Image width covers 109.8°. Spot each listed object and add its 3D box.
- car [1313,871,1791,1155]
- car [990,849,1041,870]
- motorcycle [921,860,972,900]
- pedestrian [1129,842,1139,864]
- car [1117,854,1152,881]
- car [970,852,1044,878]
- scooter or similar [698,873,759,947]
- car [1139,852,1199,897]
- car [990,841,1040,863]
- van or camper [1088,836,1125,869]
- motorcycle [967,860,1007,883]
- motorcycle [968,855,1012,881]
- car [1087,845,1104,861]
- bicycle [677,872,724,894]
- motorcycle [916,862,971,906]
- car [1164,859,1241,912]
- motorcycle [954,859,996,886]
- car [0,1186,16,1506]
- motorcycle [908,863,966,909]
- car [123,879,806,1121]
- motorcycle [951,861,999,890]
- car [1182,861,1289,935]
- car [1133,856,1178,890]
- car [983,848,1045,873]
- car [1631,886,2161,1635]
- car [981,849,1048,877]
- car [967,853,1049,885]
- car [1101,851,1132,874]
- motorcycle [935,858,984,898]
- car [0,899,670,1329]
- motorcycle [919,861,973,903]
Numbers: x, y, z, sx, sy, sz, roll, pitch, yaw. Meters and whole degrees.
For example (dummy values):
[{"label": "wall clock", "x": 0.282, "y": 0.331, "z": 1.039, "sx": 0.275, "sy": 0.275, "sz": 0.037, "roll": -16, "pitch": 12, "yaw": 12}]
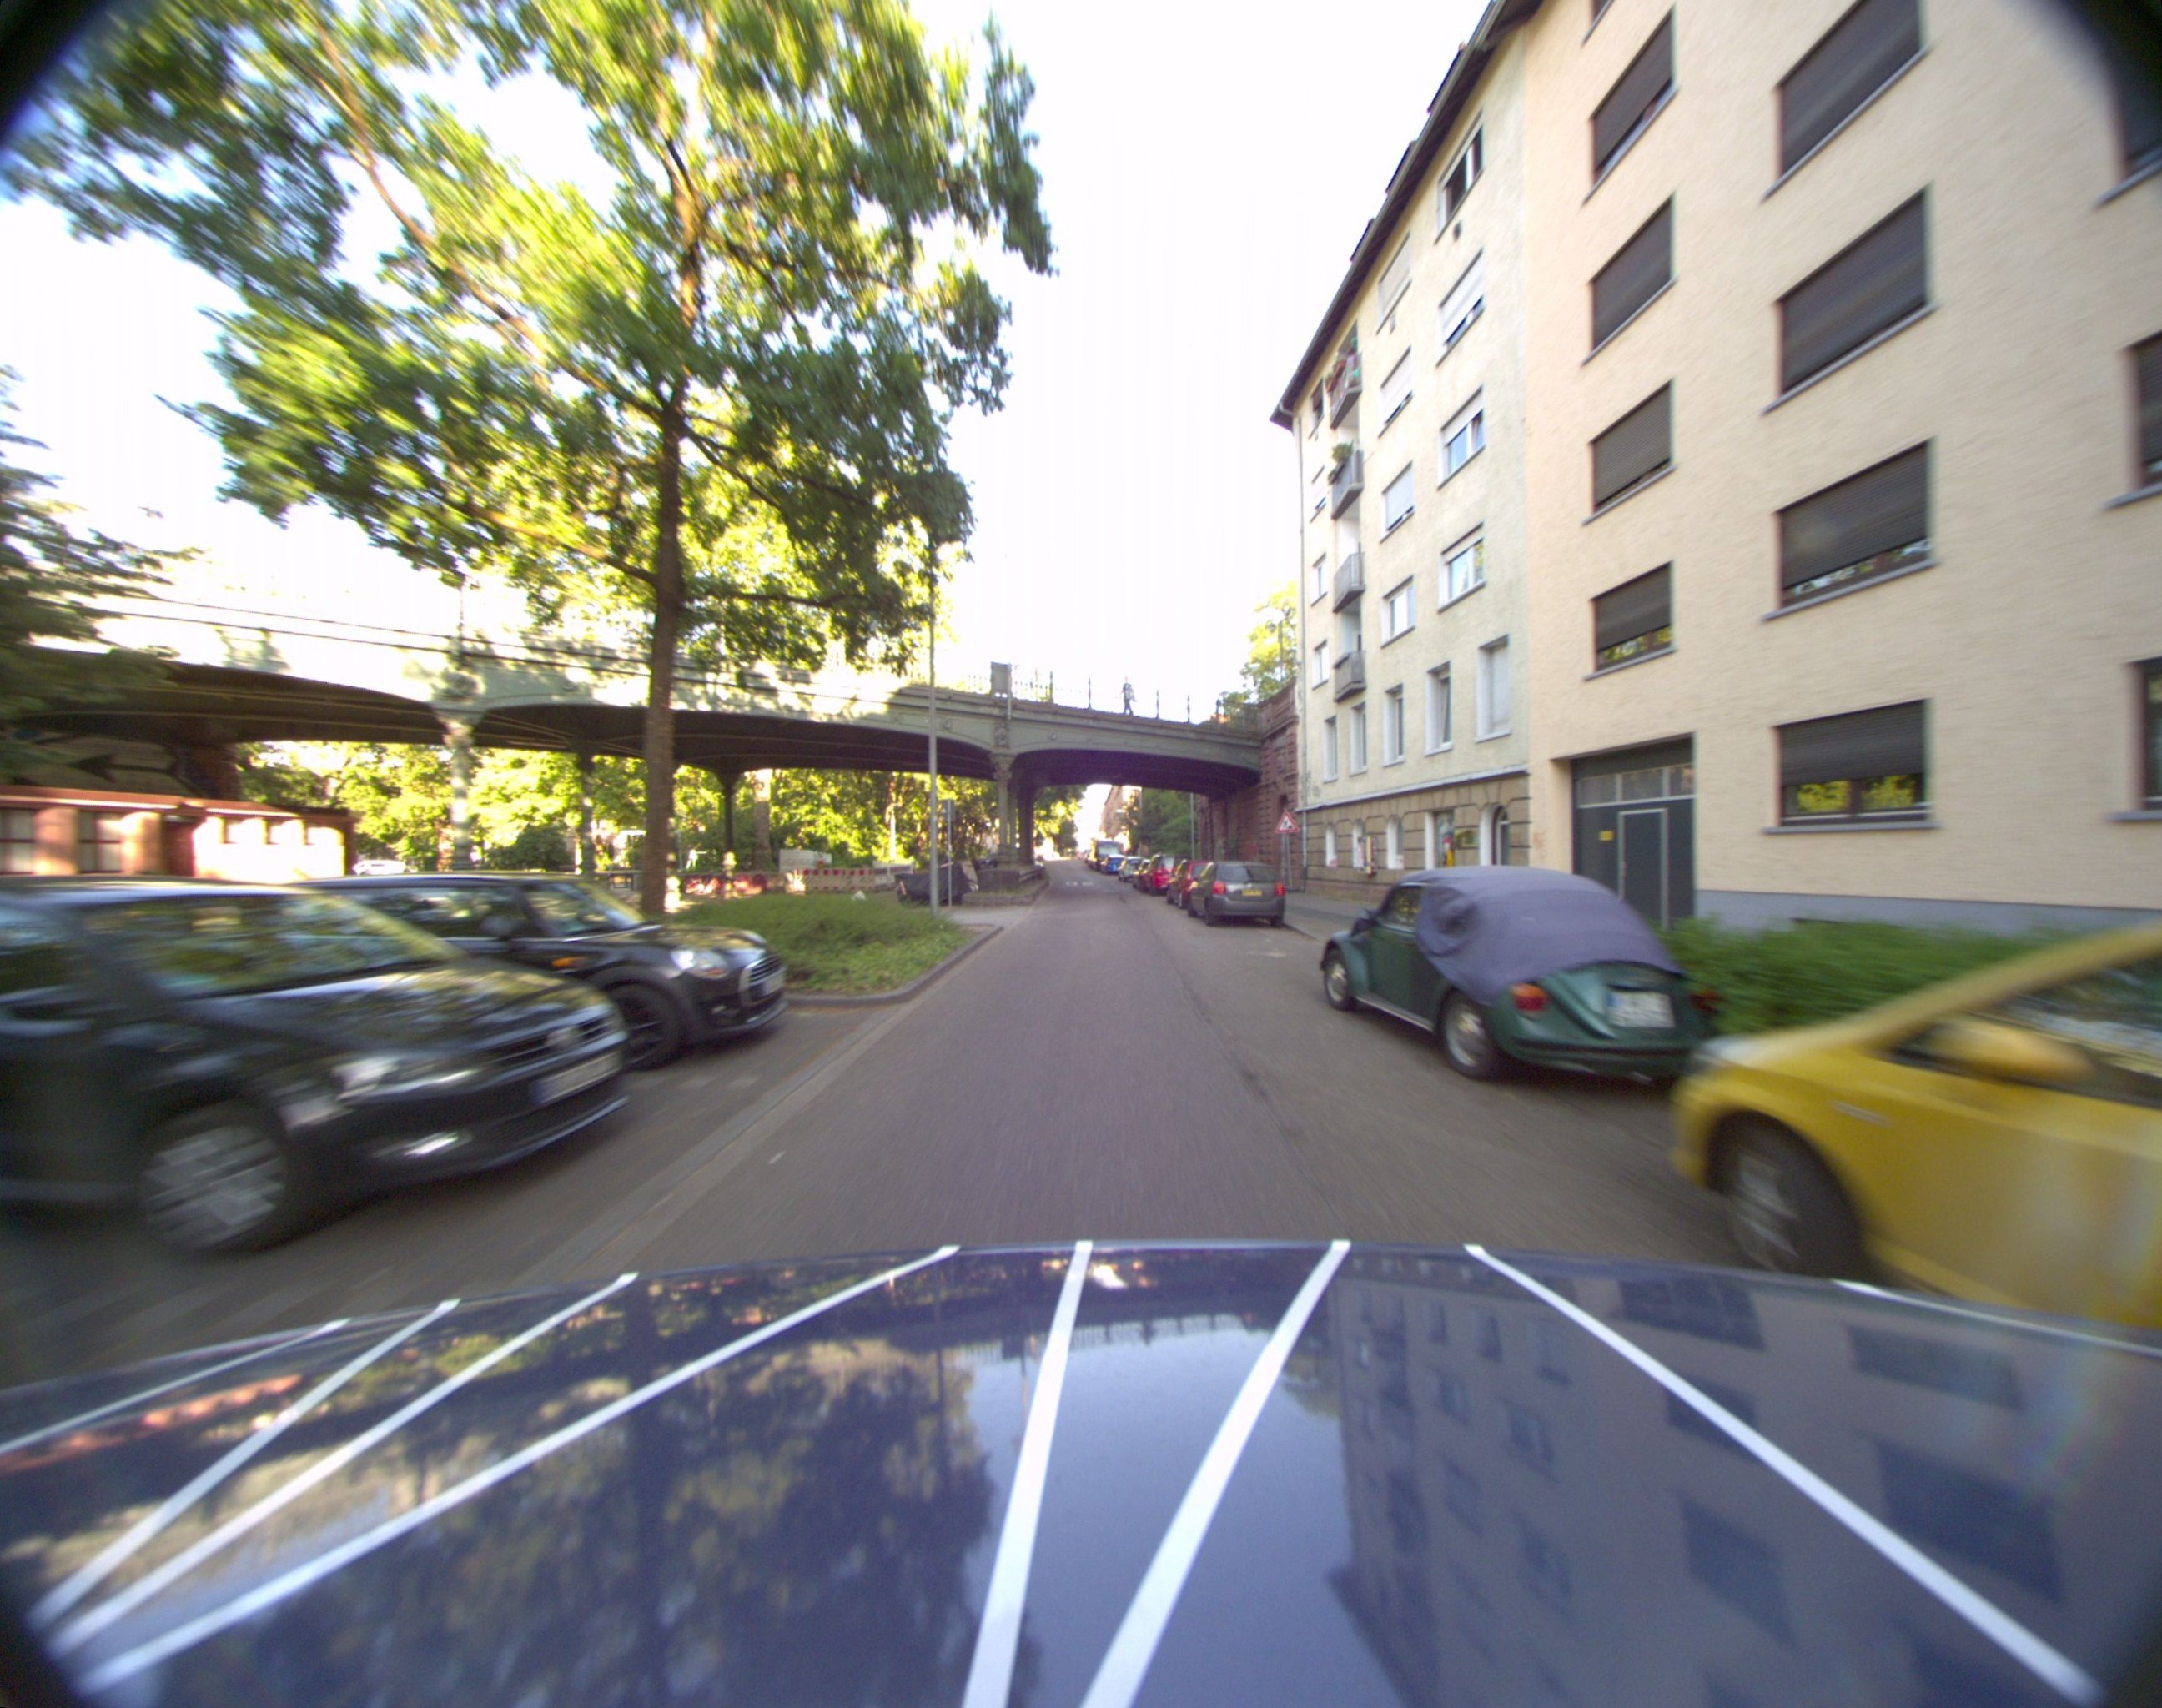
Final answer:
[{"label": "car", "x": 3.242, "y": 0.944, "z": 6.194, "sx": 1.570, "sy": 1.508, "sz": 3.782, "roll": 0, "pitch": 0, "yaw": 0}, {"label": "car", "x": -5.288, "y": 0.435, "z": 61.678, "sx": 4.032, "sy": 1.565, "sz": 1.586, "roll": -2, "pitch": 2, "yaw": -3}, {"label": "motorcycle", "x": -4.819, "y": 0.927, "z": 27.210, "sx": 1.602, "sy": 1.400, "sz": 0.713, "roll": -1, "pitch": 2, "yaw": 19}, {"label": "pedestrian", "x": 4.638, "y": -0.088, "z": 66.313, "sx": 0.639, "sy": 1.904, "sz": 1.046, "roll": -2, "pitch": 2, "yaw": -8}, {"label": "car", "x": 3.278, "y": 0.796, "z": 46.819, "sx": 1.599, "sy": 1.538, "sz": 3.913, "roll": 0, "pitch": 1, "yaw": -4}, {"label": "car", "x": -4.749, "y": 0.682, "z": 49.133, "sx": 4.597, "sy": 1.597, "sz": 1.734, "roll": 0, "pitch": 2, "yaw": 2}, {"label": "scooter or similar", "x": -6.836, "y": 1.054, "z": 14.791, "sx": 0.478, "sy": 1.291, "sz": 1.325, "roll": -2, "pitch": 2, "yaw": 2}, {"label": "car", "x": 3.514, "y": 0.767, "z": 30.983, "sx": 1.721, "sy": 1.698, "sz": 4.321, "roll": 0, "pitch": 1, "yaw": -3}, {"label": "car", "x": -6.408, "y": -0.195, "z": 74.117, "sx": 4.684, "sy": 1.914, "sz": 1.871, "roll": 1, "pitch": 2, "yaw": -3}, {"label": "van or camper", "x": 2.050, "y": -0.202, "z": 62.637, "sx": 2.242, "sy": 2.509, "sz": 6.416, "roll": -2, "pitch": 2, "yaw": -5}, {"label": "motorcycle", "x": -4.500, "y": 0.825, "z": 36.471, "sx": 1.729, "sy": 1.024, "sz": 0.810, "roll": -3, "pitch": 3, "yaw": -35}, {"label": "motorcycle", "x": -4.565, "y": 0.690, "z": 38.157, "sx": 1.938, "sy": 1.231, "sz": 0.902, "roll": -3, "pitch": 2, "yaw": -26}, {"label": "car", "x": 1.435, "y": -0.160, "z": 76.855, "sx": 1.703, "sy": 1.489, "sz": 4.548, "roll": 1, "pitch": 2, "yaw": 0}, {"label": "bicycle", "x": -15.394, "y": 1.156, "z": 30.751, "sx": 1.618, "sy": 0.853, "sz": 0.522, "roll": 2, "pitch": 0, "yaw": -33}, {"label": "motorcycle", "x": -4.560, "y": 0.979, "z": 25.247, "sx": 1.602, "sy": 1.400, "sz": 0.713, "roll": -1, "pitch": 2, "yaw": 19}, {"label": "car", "x": 3.647, "y": 0.903, "z": 23.447, "sx": 1.693, "sy": 1.433, "sz": 3.999, "roll": 0, "pitch": 1, "yaw": -1}, {"label": "motorcycle", "x": -4.862, "y": 0.837, "z": 34.765, "sx": 1.729, "sy": 1.126, "sz": 0.710, "roll": -3, "pitch": 3, "yaw": -35}, {"label": "car", "x": -4.628, "y": 0.985, "z": 1.049, "sx": 3.792, "sy": 1.393, "sz": 1.663, "roll": 0, "pitch": 2, "yaw": -2}, {"label": "motorcycle", "x": -4.594, "y": 1.011, "z": 24.234, "sx": 1.602, "sy": 1.400, "sz": 0.713, "roll": -1, "pitch": 2, "yaw": 19}, {"label": "car", "x": -4.311, "y": 0.975, "z": 5.870, "sx": 3.793, "sy": 1.464, "sz": 1.634, "roll": 0, "pitch": 2, "yaw": -5}, {"label": "motorcycle", "x": -4.533, "y": 0.898, "z": 32.423, "sx": 1.839, "sy": 1.126, "sz": 0.849, "roll": -3, "pitch": 2, "yaw": -25}, {"label": "car", "x": 3.540, "y": 0.957, "z": 18.123, "sx": 1.641, "sy": 1.458, "sz": 3.999, "roll": 2, "pitch": 0, "yaw": -1}, {"label": "car", "x": 3.483, "y": 0.874, "z": 36.270, "sx": 1.721, "sy": 1.455, "sz": 3.999, "roll": 0, "pitch": 1, "yaw": -1}, {"label": "car", "x": -4.975, "y": 0.461, "z": 56.921, "sx": 4.545, "sy": 1.686, "sz": 1.906, "roll": -2, "pitch": 2, "yaw": -3}, {"label": "car", "x": 3.167, "y": 0.906, "z": 1.257, "sx": 1.707, "sy": 1.516, "sz": 3.772, "roll": 0, "pitch": 0, "yaw": -2}, {"label": "car", "x": -4.549, "y": 0.579, "z": 51.860, "sx": 4.387, "sy": 1.699, "sz": 1.905, "roll": -2, "pitch": 2, "yaw": -5}, {"label": "car", "x": -3.986, "y": 0.812, "z": 42.049, "sx": 4.386, "sy": 1.569, "sz": 1.673, "roll": -2, "pitch": 2, "yaw": -3}, {"label": "car", "x": 2.594, "y": 0.582, "z": 56.496, "sx": 1.750, "sy": 1.458, "sz": 4.372, "roll": -2, "pitch": 2, "yaw": -5}, {"label": "motorcycle", "x": -4.483, "y": 0.889, "z": 28.127, "sx": 1.602, "sy": 1.400, "sz": 0.713, "roll": -1, "pitch": 2, "yaw": 19}, {"label": "car", "x": -4.372, "y": 0.992, "z": 3.628, "sx": 3.792, "sy": 1.393, "sz": 1.826, "roll": 0, "pitch": 2, "yaw": 0}, {"label": "motorcycle", "x": -4.635, "y": 0.955, "z": 26.113, "sx": 1.602, "sy": 1.400, "sz": 0.713, "roll": -1, "pitch": 2, "yaw": 19}]
